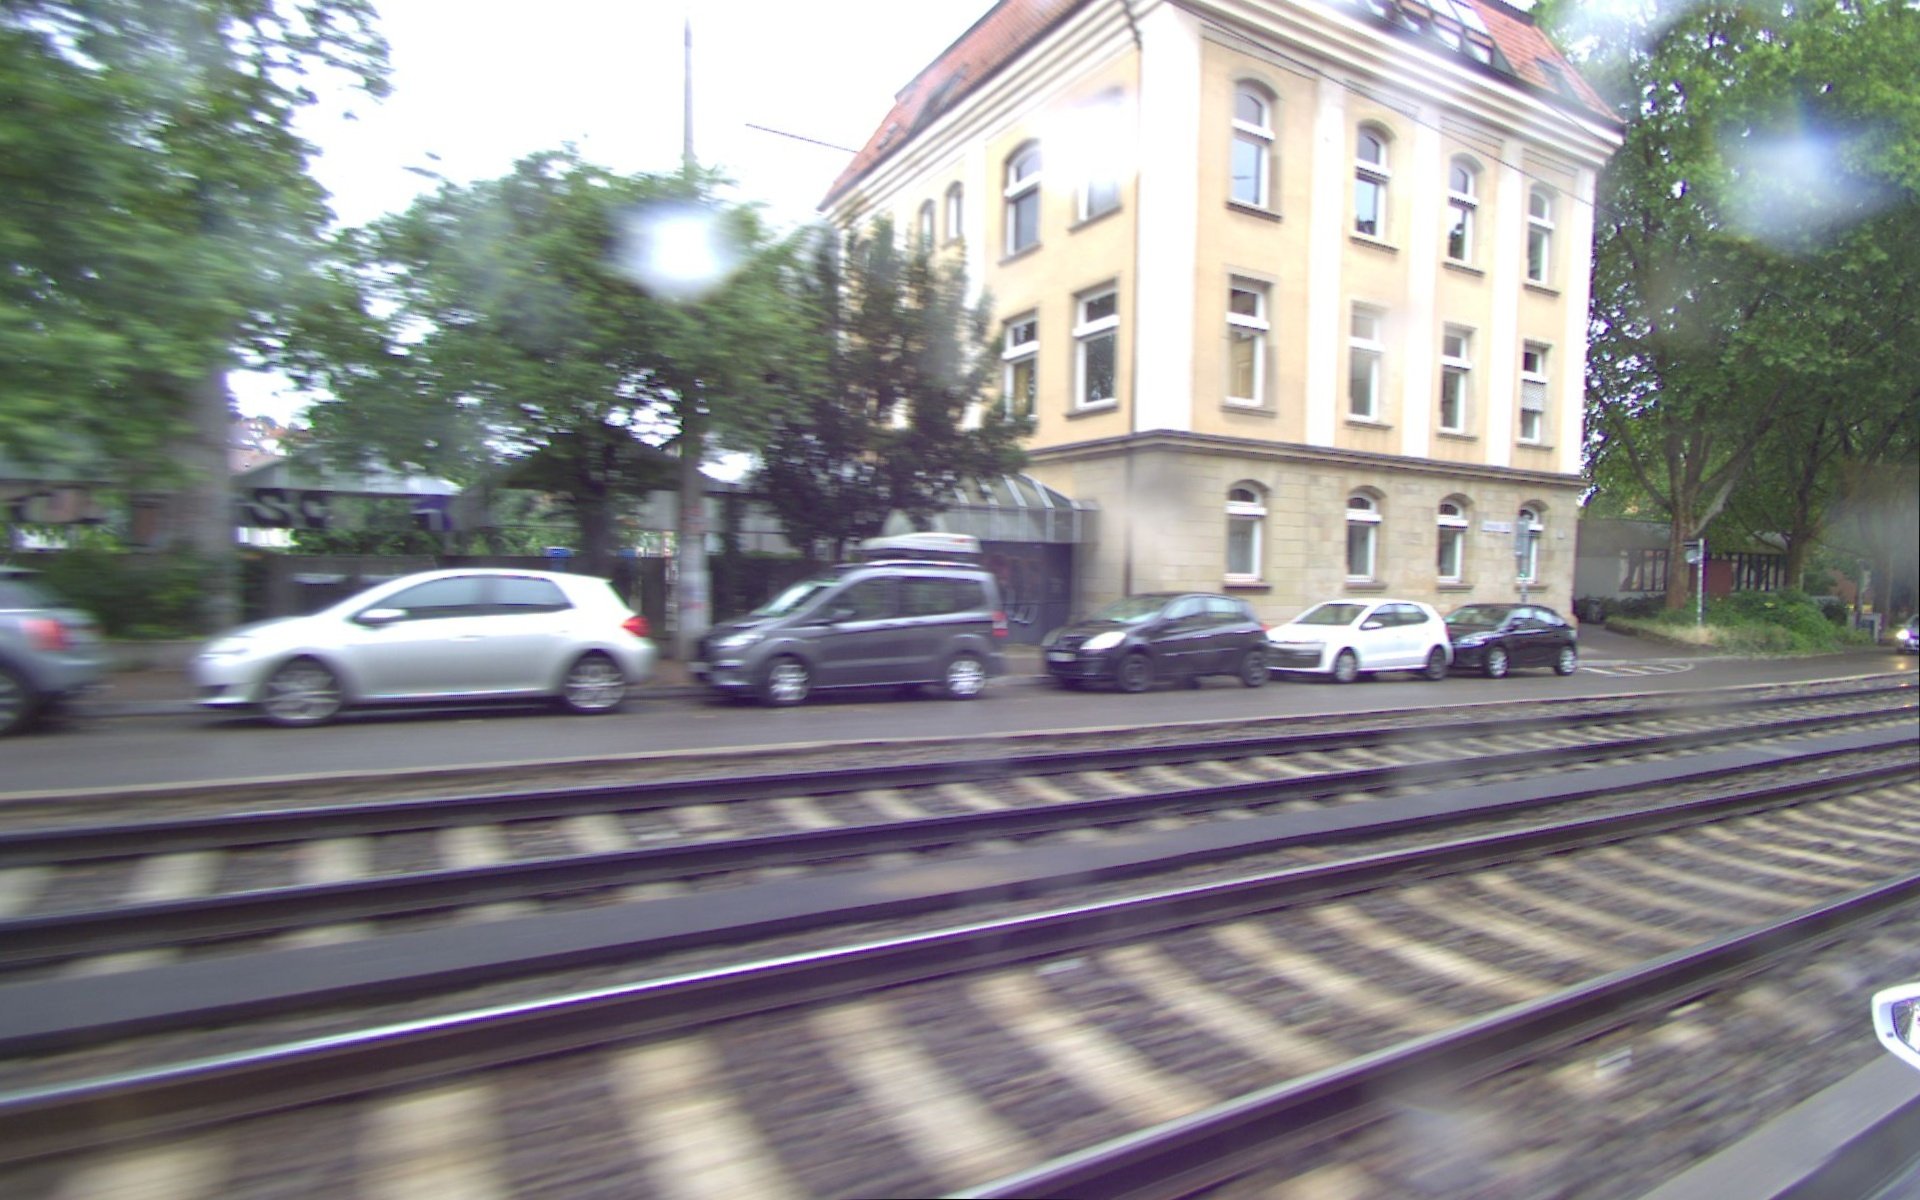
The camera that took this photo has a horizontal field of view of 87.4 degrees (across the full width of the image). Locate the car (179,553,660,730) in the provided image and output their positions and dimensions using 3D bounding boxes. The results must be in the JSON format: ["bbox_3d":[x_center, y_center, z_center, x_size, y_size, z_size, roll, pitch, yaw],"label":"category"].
[{"bbox_3d":[-5.376,0.403,10.414,4.107,1.525,1.531,1,-1,-32],"label":"car"}]

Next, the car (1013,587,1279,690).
[{"bbox_3d":[2.927,0.583,15.631,3.961,1.432,1.667,1,-1,-30],"label":"car"}]

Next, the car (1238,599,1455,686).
[{"bbox_3d":[6.950,0.732,17.964,3.939,1.409,1.493,1,-1,-30],"label":"car"}]

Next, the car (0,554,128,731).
[{"bbox_3d":[-9.349,0.329,8.043,3.908,1.432,1.531,1,-1,-32],"label":"car"}]

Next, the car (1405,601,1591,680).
[{"bbox_3d":[10.906,0.775,20.328,3.808,1.448,1.606,1,0,-31],"label":"car"}]

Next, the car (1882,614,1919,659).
[{"bbox_3d":[34.664,1.293,35.803,4.589,1.525,1.804,1,1,-37],"label":"car"}]

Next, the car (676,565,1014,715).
[{"bbox_3d":[-1.404,0.488,12.837,4.026,1.665,1.568,1,-1,-32],"label":"car"}]
